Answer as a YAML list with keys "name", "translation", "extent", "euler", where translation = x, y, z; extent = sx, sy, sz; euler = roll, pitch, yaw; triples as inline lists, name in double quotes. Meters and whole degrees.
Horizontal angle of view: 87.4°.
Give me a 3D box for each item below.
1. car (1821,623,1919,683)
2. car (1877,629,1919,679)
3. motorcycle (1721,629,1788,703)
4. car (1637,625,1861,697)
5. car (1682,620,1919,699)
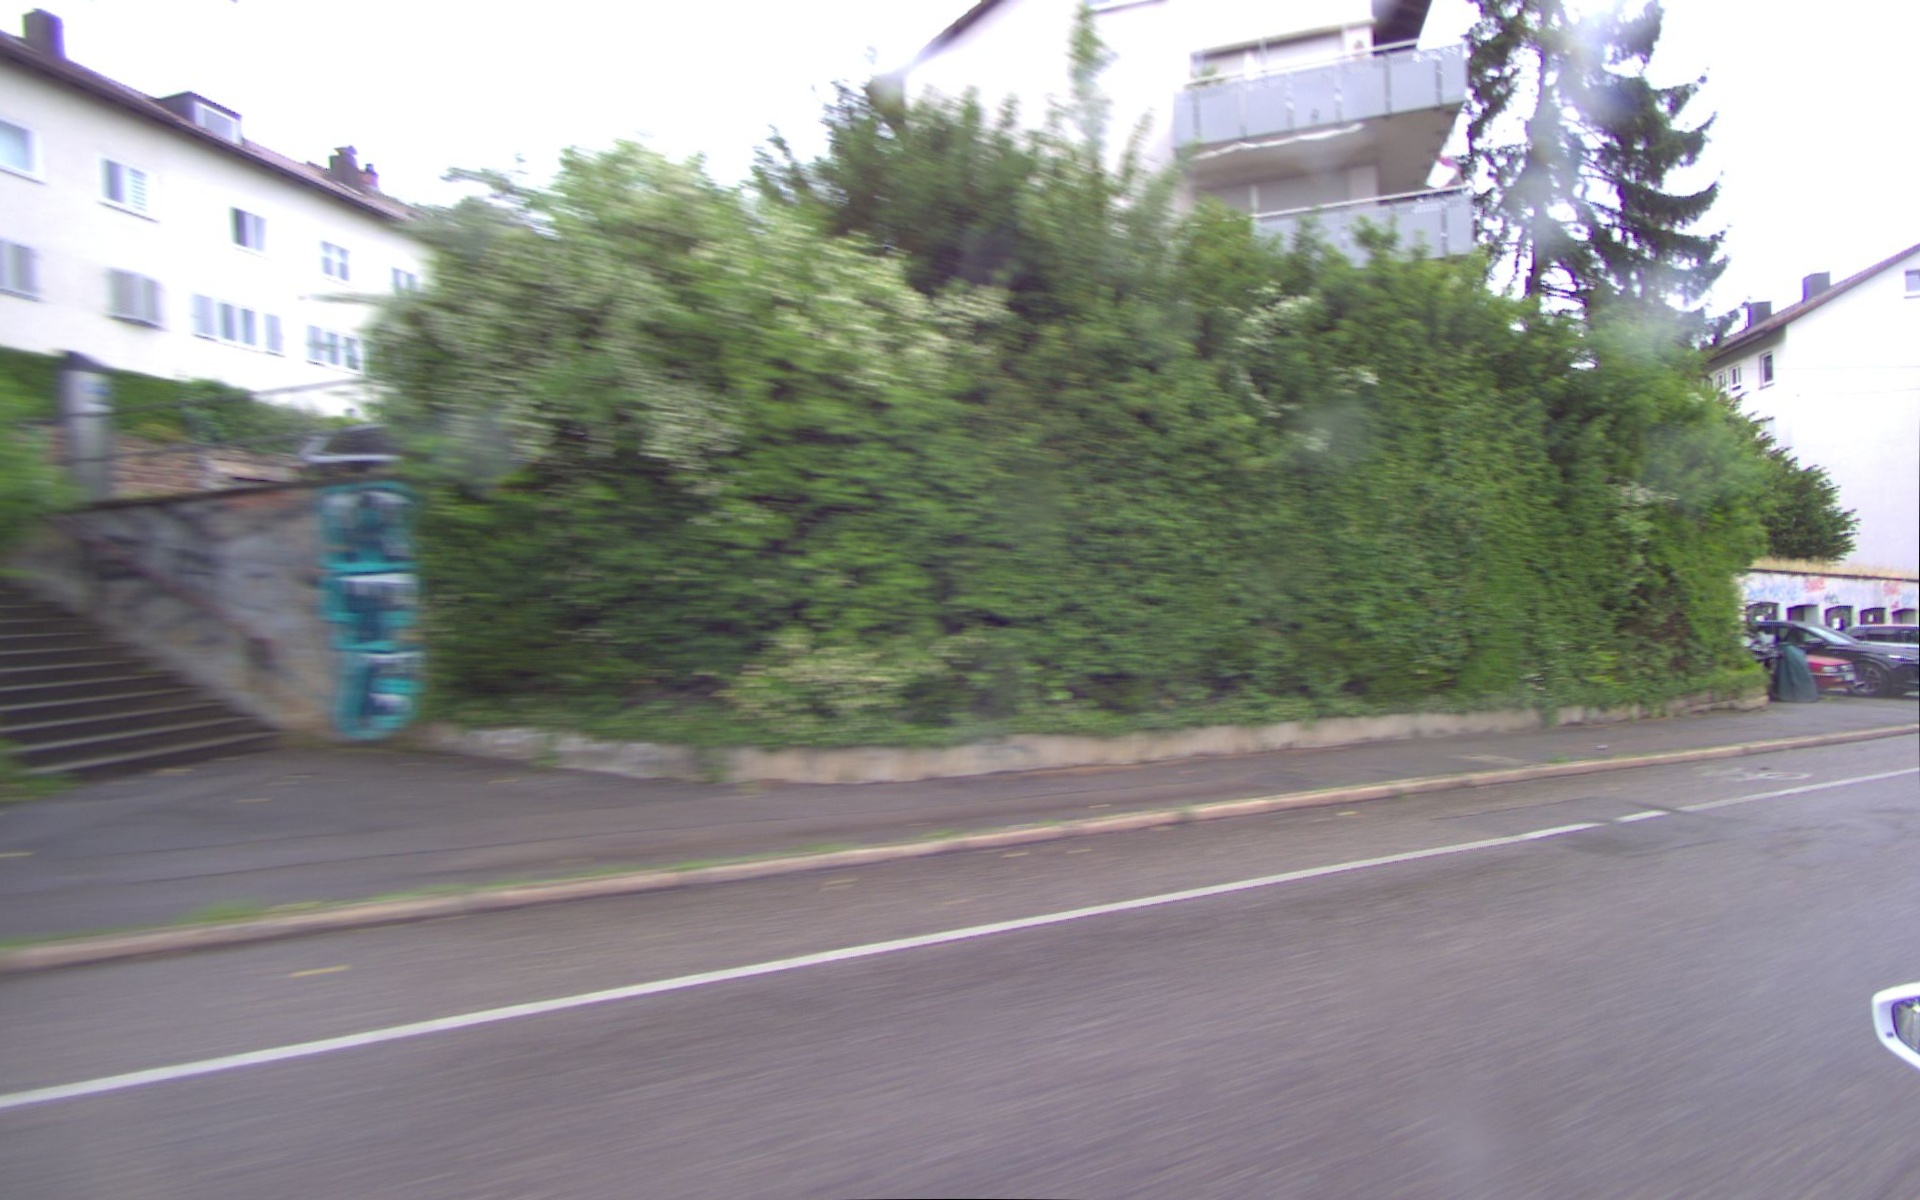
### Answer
- name: "car"
  translation: [26.339, 1.443, 27.445]
  extent: [1.861, 1.580, 3.963]
  euler: [2, -2, -33]
- name: "car"
  translation: [28.529, 1.554, 28.303]
  extent: [1.761, 1.425, 3.617]
  euler: [2, -2, -28]
- name: "motorcycle"
  translation: [15.327, 1.246, 19.350]
  extent: [2.303, 1.338, 0.611]
  euler: [2, -2, -41]
- name: "car"
  translation: [17.368, 1.299, 22.258]
  extent: [1.700, 1.424, 3.607]
  euler: [2, -2, -36]
- name: "car"
  translation: [19.698, 1.289, 23.345]
  extent: [1.793, 1.624, 4.428]
  euler: [-1, -1, -30]
